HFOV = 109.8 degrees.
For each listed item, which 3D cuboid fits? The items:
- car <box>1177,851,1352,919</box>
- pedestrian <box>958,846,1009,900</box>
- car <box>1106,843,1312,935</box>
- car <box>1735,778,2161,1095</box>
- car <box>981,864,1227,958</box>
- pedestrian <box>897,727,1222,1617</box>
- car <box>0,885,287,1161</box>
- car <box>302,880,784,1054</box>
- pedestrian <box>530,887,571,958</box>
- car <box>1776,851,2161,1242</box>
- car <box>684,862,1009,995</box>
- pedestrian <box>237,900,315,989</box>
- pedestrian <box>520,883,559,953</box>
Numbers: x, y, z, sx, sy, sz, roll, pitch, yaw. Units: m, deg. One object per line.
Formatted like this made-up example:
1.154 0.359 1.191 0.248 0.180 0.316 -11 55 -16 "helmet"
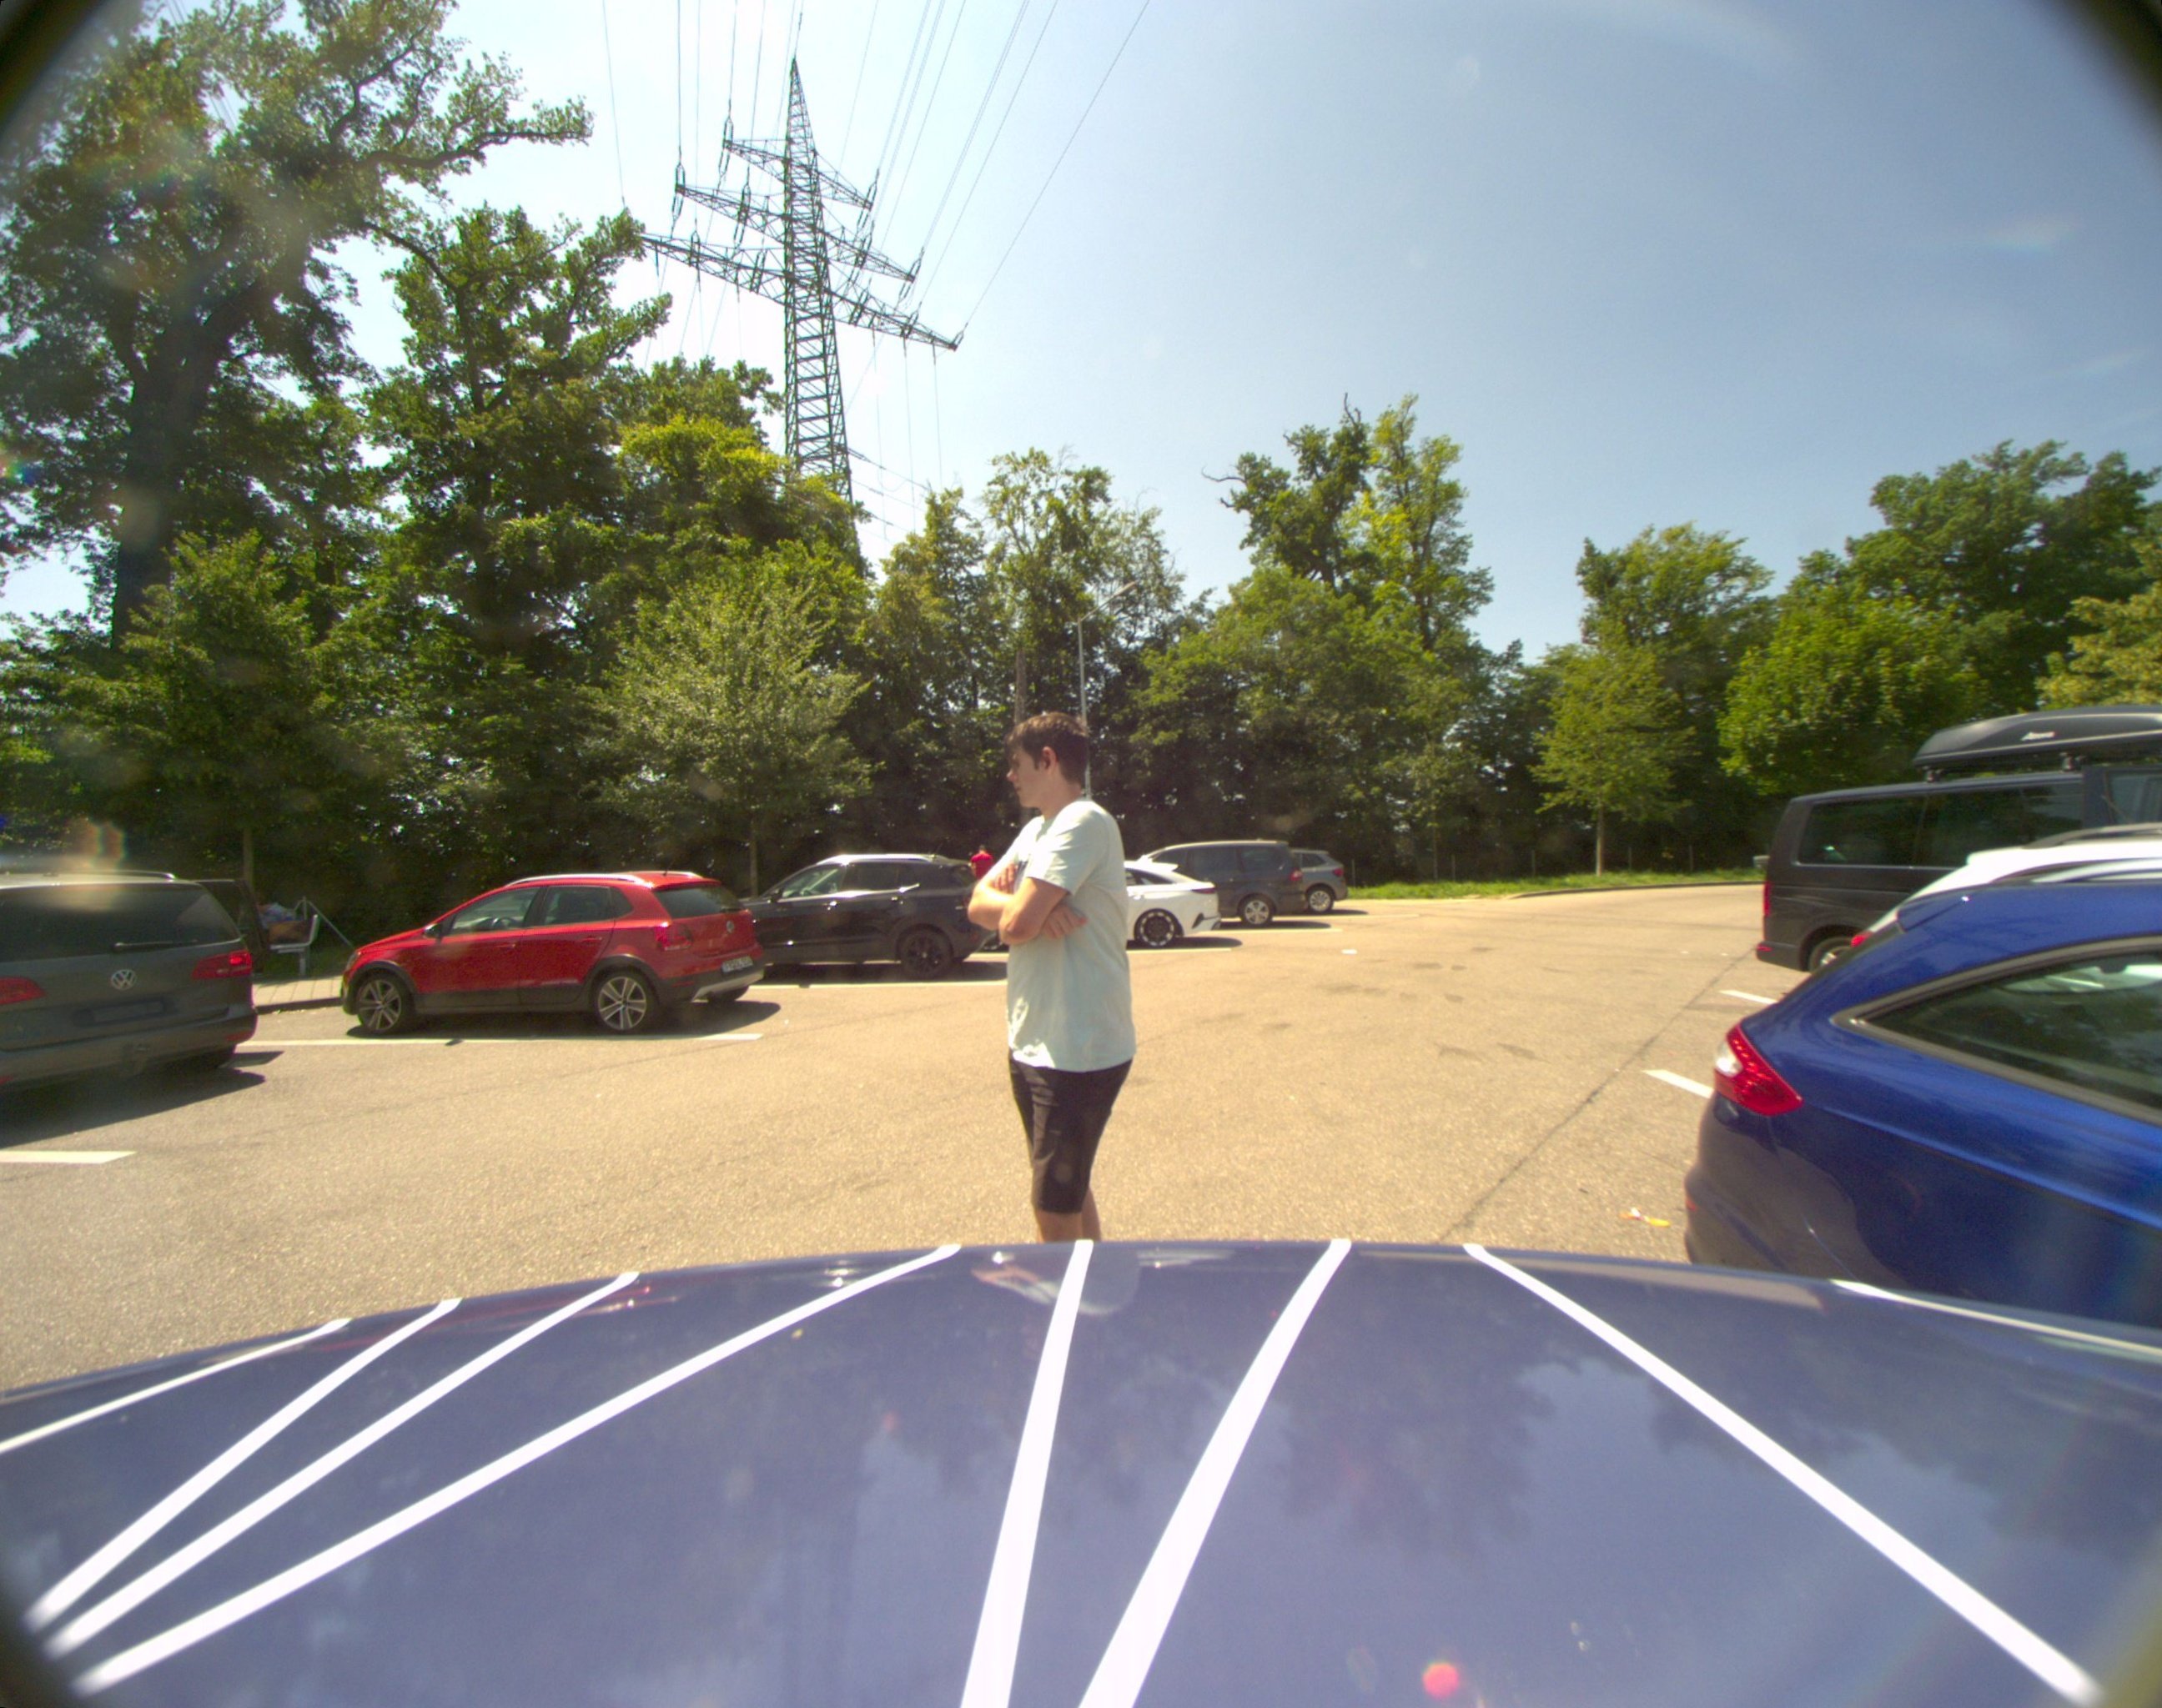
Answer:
4.262 0.707 18.130 3.805 1.468 1.743 -1 1 5 "car"
-2.389 0.461 18.664 0.890 1.292 0.865 -2 0 23 "pedestrian"
2.515 0.679 15.506 3.882 1.680 1.882 -1 0 5 "car"
7.310 0.455 5.038 2.048 1.850 4.430 -2 -1 -1 "car"
0.412 0.906 12.756 3.805 1.359 1.803 -1 1 5 "car"
-0.115 0.661 2.035 0.634 1.857 0.747 -2 0 -17 "pedestrian"
-8.341 1.093 5.457 3.950 1.581 1.753 -1 1 11 "car"
-5.240 1.063 7.664 3.804 1.449 1.637 -1 1 7 "car"
-10.164 1.296 14.552 0.490 1.291 0.506 -2 0 41 "pedestrian"
4.782 0.701 2.442 1.607 1.405 3.743 -2 -1 -1 "car"
-3.003 0.937 10.307 3.806 1.538 1.759 -1 1 2 "car"
-11.756 1.305 11.100 0.680 1.211 0.675 -4 -2 36 "pedestrian"
-10.949 1.279 15.358 0.490 1.367 0.506 -2 0 41 "pedestrian"
